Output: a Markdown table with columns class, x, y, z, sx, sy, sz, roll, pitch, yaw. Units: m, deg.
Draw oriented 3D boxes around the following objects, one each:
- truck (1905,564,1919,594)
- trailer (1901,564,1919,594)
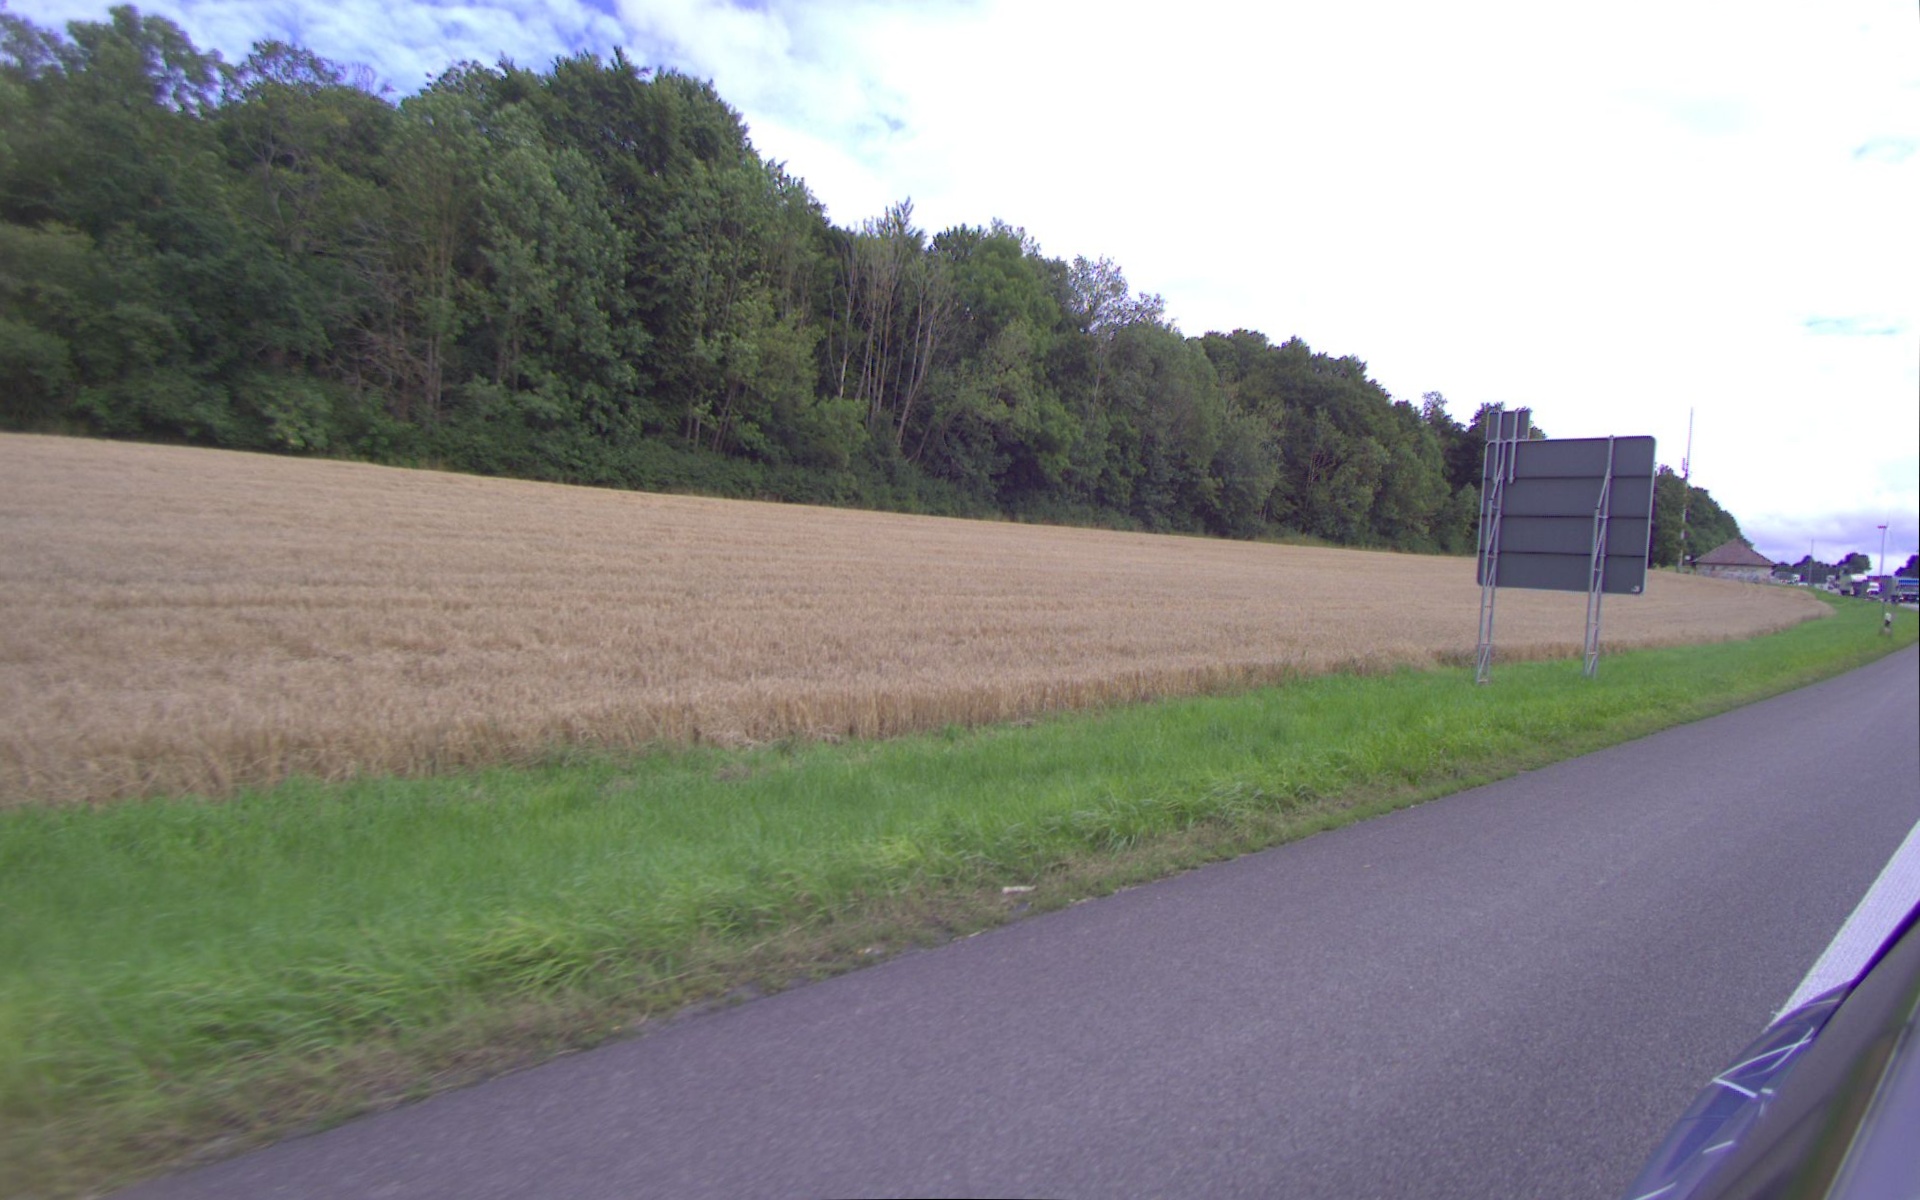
| class | x | y | z | sx | sy | sz | roll | pitch | yaw |
| --- | --- | --- | --- | --- | --- | --- | --- | --- | --- |
| truck | 131.868 | -2.903 | 138.929 | 2.785 | 4.021 | 5.853 | 1 | 1 | 40 |
| trailer | 135.192 | -2.964 | 142.869 | 2.776 | 4.004 | 11.132 | 1 | 1 | 40 |
